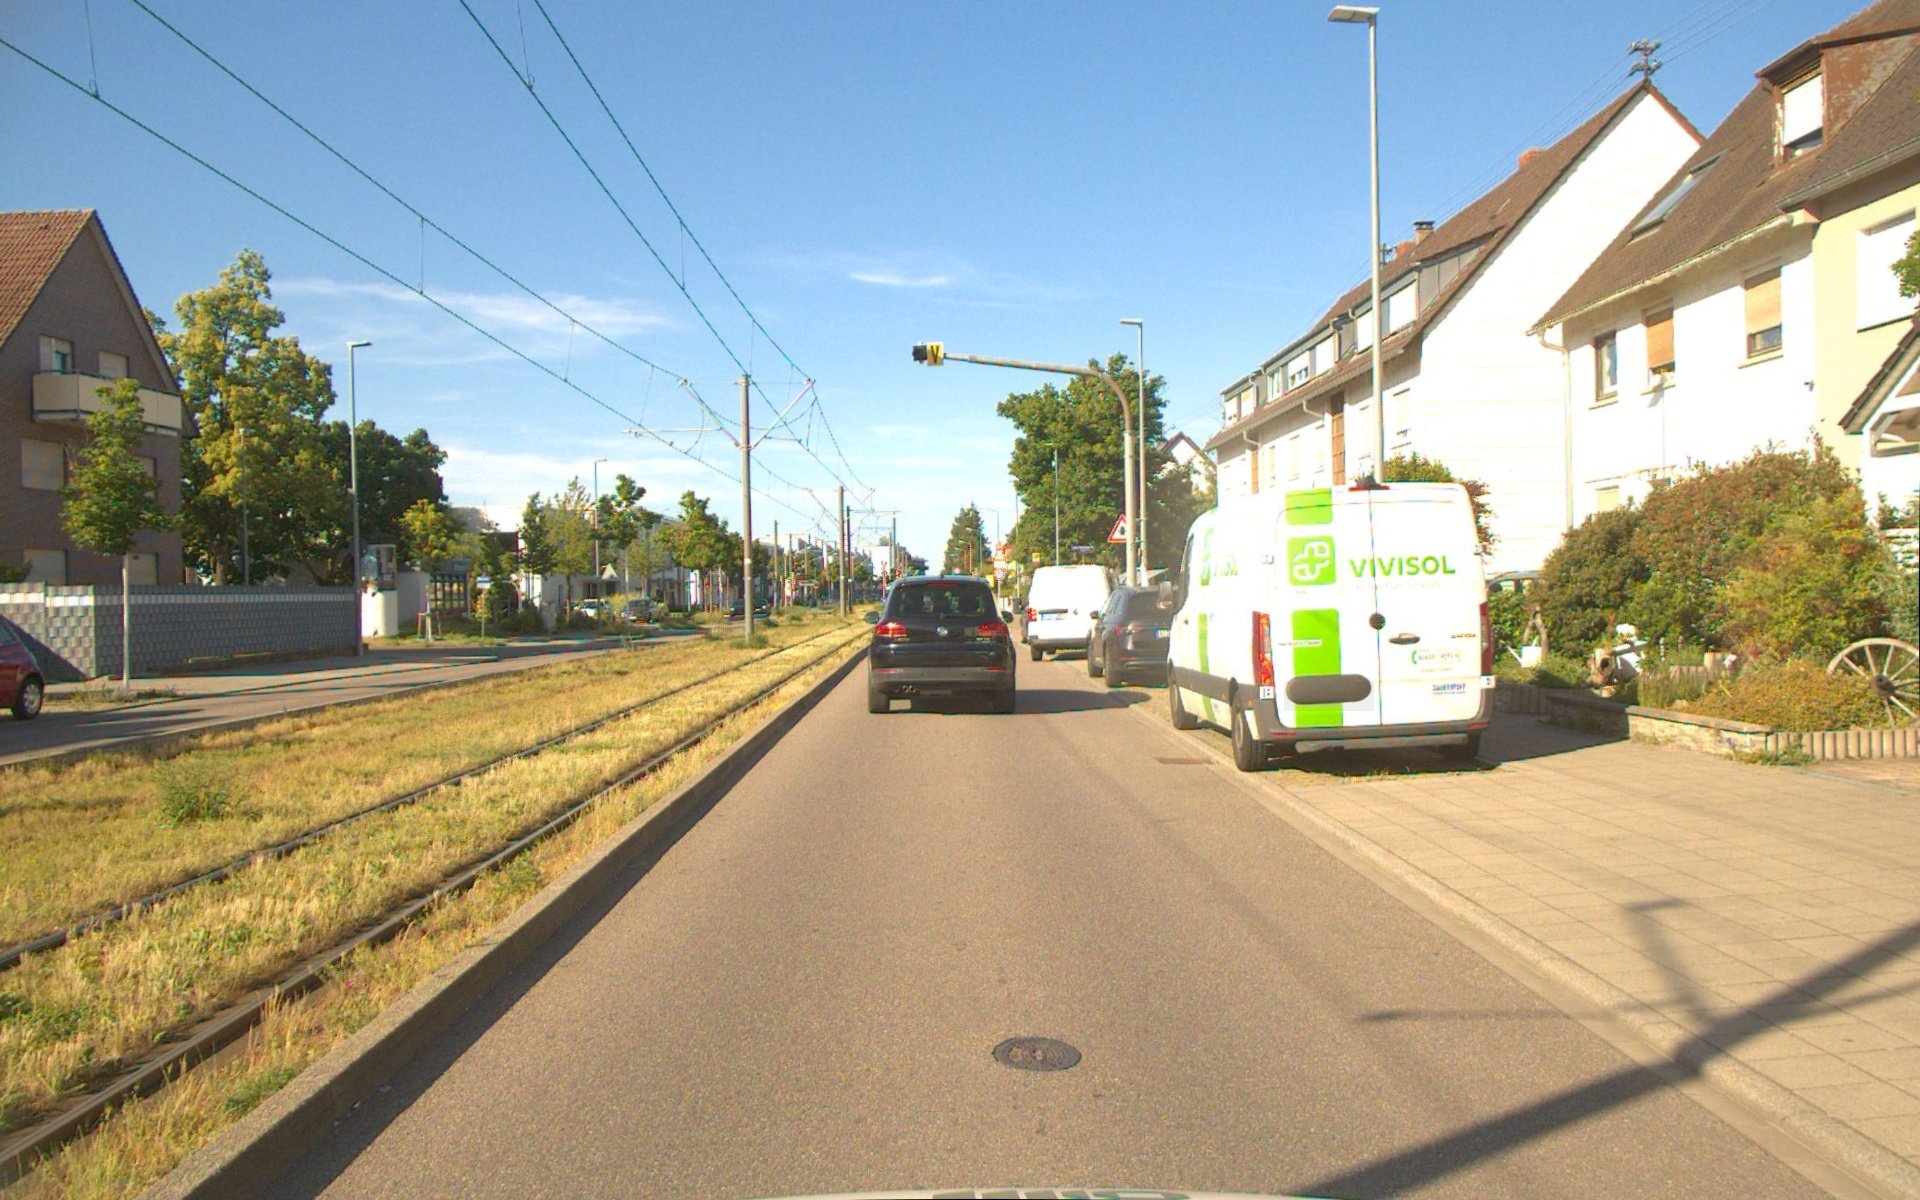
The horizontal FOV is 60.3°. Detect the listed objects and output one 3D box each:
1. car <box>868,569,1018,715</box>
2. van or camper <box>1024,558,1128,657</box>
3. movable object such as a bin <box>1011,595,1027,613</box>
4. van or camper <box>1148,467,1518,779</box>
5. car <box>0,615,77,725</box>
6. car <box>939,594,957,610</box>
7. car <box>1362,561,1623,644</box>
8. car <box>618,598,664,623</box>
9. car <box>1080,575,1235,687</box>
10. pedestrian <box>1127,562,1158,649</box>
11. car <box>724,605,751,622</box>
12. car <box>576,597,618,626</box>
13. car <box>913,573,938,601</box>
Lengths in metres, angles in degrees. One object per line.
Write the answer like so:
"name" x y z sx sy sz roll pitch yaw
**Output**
"car" -0.294 0.491 21.336 1.740 1.699 3.998 0 0 -3
"van or camper" 2.657 0.120 36.777 1.985 1.990 5.299 -2 0 7
"movable object such as a bin" 3.788 0.261 105.797 0.955 1.130 1.171 -1 0 2
"van or camper" 3.241 0.178 15.922 1.953 2.310 6.303 -3 0 -1
"car" -13.612 0.971 21.892 1.661 1.429 4.078 -2 0 0
"car" -1.347 0.174 179.620 1.740 1.699 3.998 -1 0 -3
"car" 10.670 0.064 33.367 4.617 1.503 1.906 -2 -1 -3
"car" -19.561 0.624 101.601 1.772 1.486 4.319 0 0 3
"car" 3.014 0.448 26.259 1.713 1.520 5.154 -3 0 -1
"pedestrian" 4.107 0.120 37.227 0.684 1.946 0.759 0 0 7
"car" -19.579 1.174 145.585 1.653 1.413 4.388 -3 0 1
"car" -19.380 0.607 88.398 1.513 1.517 3.773 0 0 -2
"car" -3.359 -1.281 160.935 2.346 2.609 5.529 -1 0 -1
